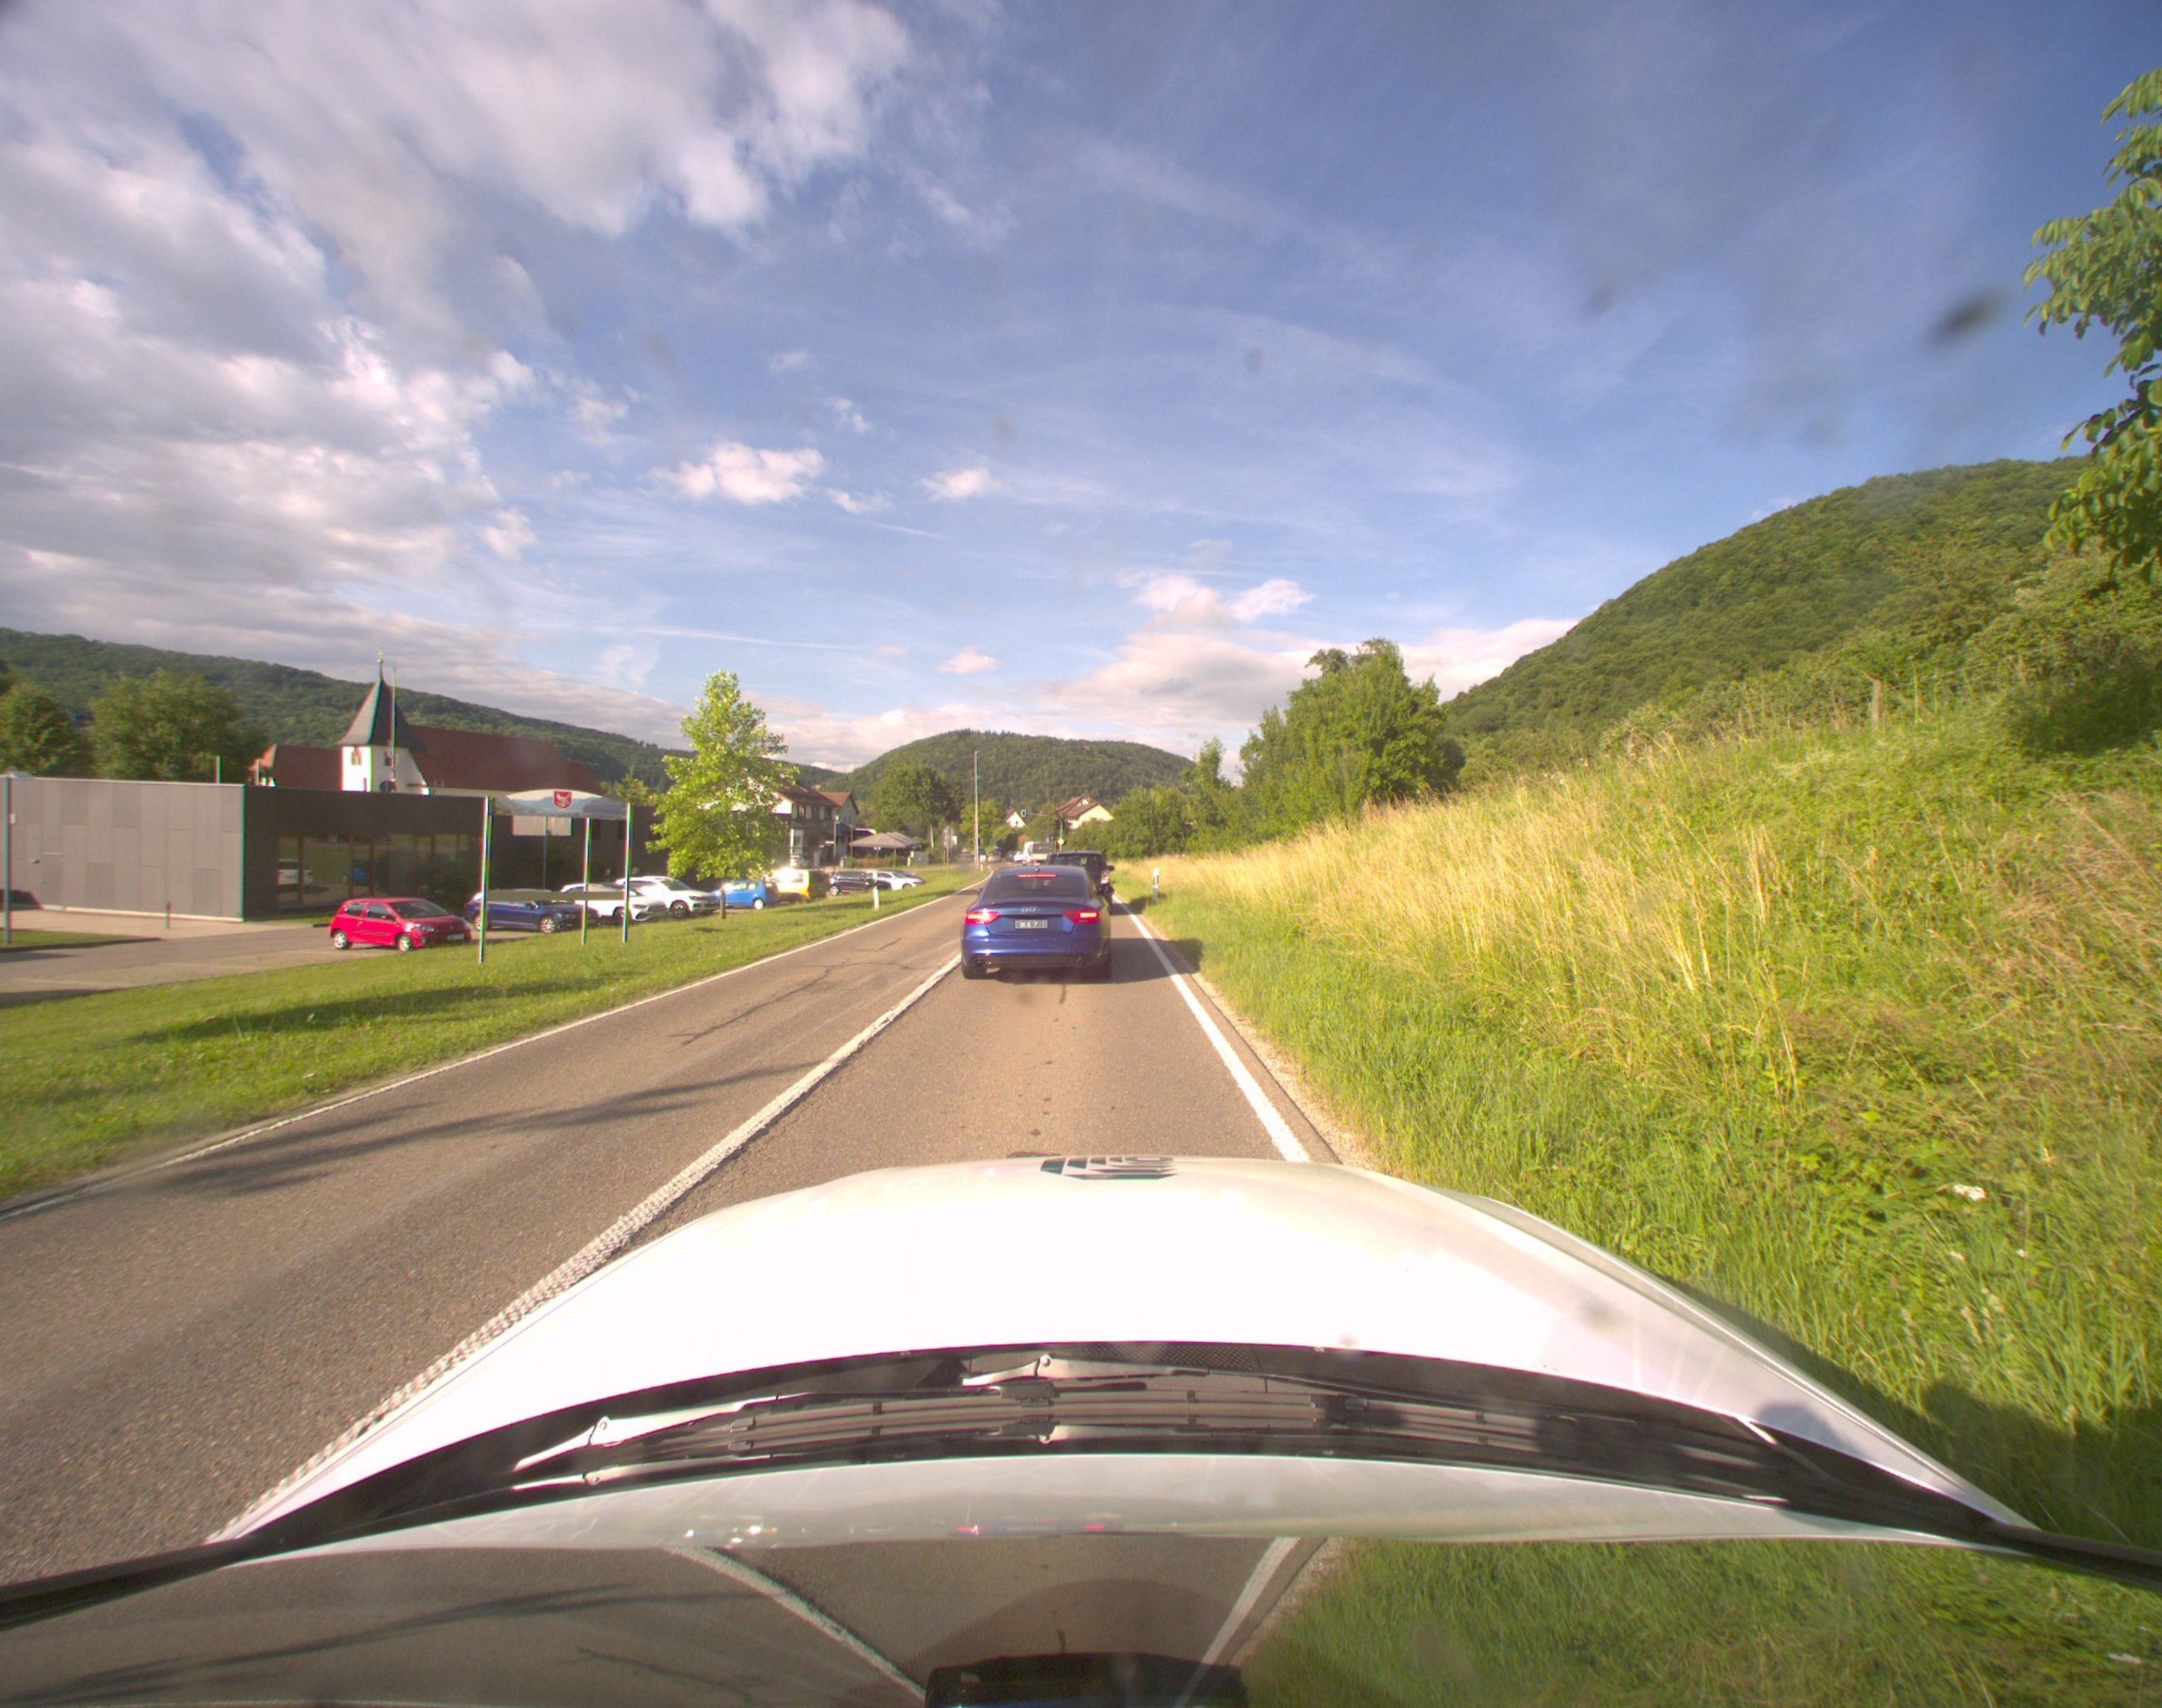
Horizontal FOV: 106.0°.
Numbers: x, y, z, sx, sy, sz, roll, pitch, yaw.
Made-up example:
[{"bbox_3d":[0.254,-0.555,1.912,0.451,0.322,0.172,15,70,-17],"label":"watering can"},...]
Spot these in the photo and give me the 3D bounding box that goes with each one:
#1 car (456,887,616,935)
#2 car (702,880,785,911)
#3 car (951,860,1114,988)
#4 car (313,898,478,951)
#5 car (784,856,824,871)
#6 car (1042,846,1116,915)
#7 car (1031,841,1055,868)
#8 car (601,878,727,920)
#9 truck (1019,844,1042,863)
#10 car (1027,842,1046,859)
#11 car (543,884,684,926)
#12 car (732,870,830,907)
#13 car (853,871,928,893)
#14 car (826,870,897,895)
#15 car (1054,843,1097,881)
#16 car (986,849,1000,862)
[{"bbox_3d":[-19.212,1.971,28.781,4.511,1.555,2.005,0,-1,9],"label":"car"},{"bbox_3d":[-16.991,2.065,41.060,3.474,1.472,1.636,0,-1,7],"label":"car"},{"bbox_3d":[-0.462,0.800,11.057,1.788,1.388,4.002,-1,-1,2],"label":"car"},{"bbox_3d":[-19.916,2.017,23.732,3.698,1.398,1.620,0,-1,9],"label":"car"},{"bbox_3d":[-28.770,0.985,84.696,1.749,1.442,4.021,-1,-1,22],"label":"car"},{"bbox_3d":[0.039,0.643,21.299,1.739,1.639,4.002,0,-1,2],"label":"car"},{"bbox_3d":[-3.279,0.046,69.603,1.744,2.195,3.991,0,-1,-6],"label":"car"},{"bbox_3d":[-18.107,1.929,35.454,4.511,1.703,2.005,0,-1,9],"label":"car"},{"bbox_3d":[-5.431,-0.064,86.572,1.698,1.953,5.899,0,-1,-11],"label":"truck"},{"bbox_3d":[-4.501,-0.290,81.690,1.744,1.639,3.991,0,-1,-6],"label":"car"},{"bbox_3d":[-18.335,1.974,32.029,4.511,1.555,2.005,0,-1,9],"label":"car"},{"bbox_3d":[-16.050,1.827,43.627,4.578,1.868,2.007,0,-1,13],"label":"car"},{"bbox_3d":[-13.579,1.969,58.085,4.785,1.493,1.886,0,-1,9],"label":"car"},{"bbox_3d":[-14.388,1.865,53.548,4.000,1.637,2.005,0,-1,9],"label":"car"},{"bbox_3d":[-0.182,0.368,36.960,1.798,1.639,4.464,0,-1,1],"label":"car"},{"bbox_3d":[-11.569,0.249,107.139,1.733,1.662,3.462,0,-1,-7],"label":"car"}]
